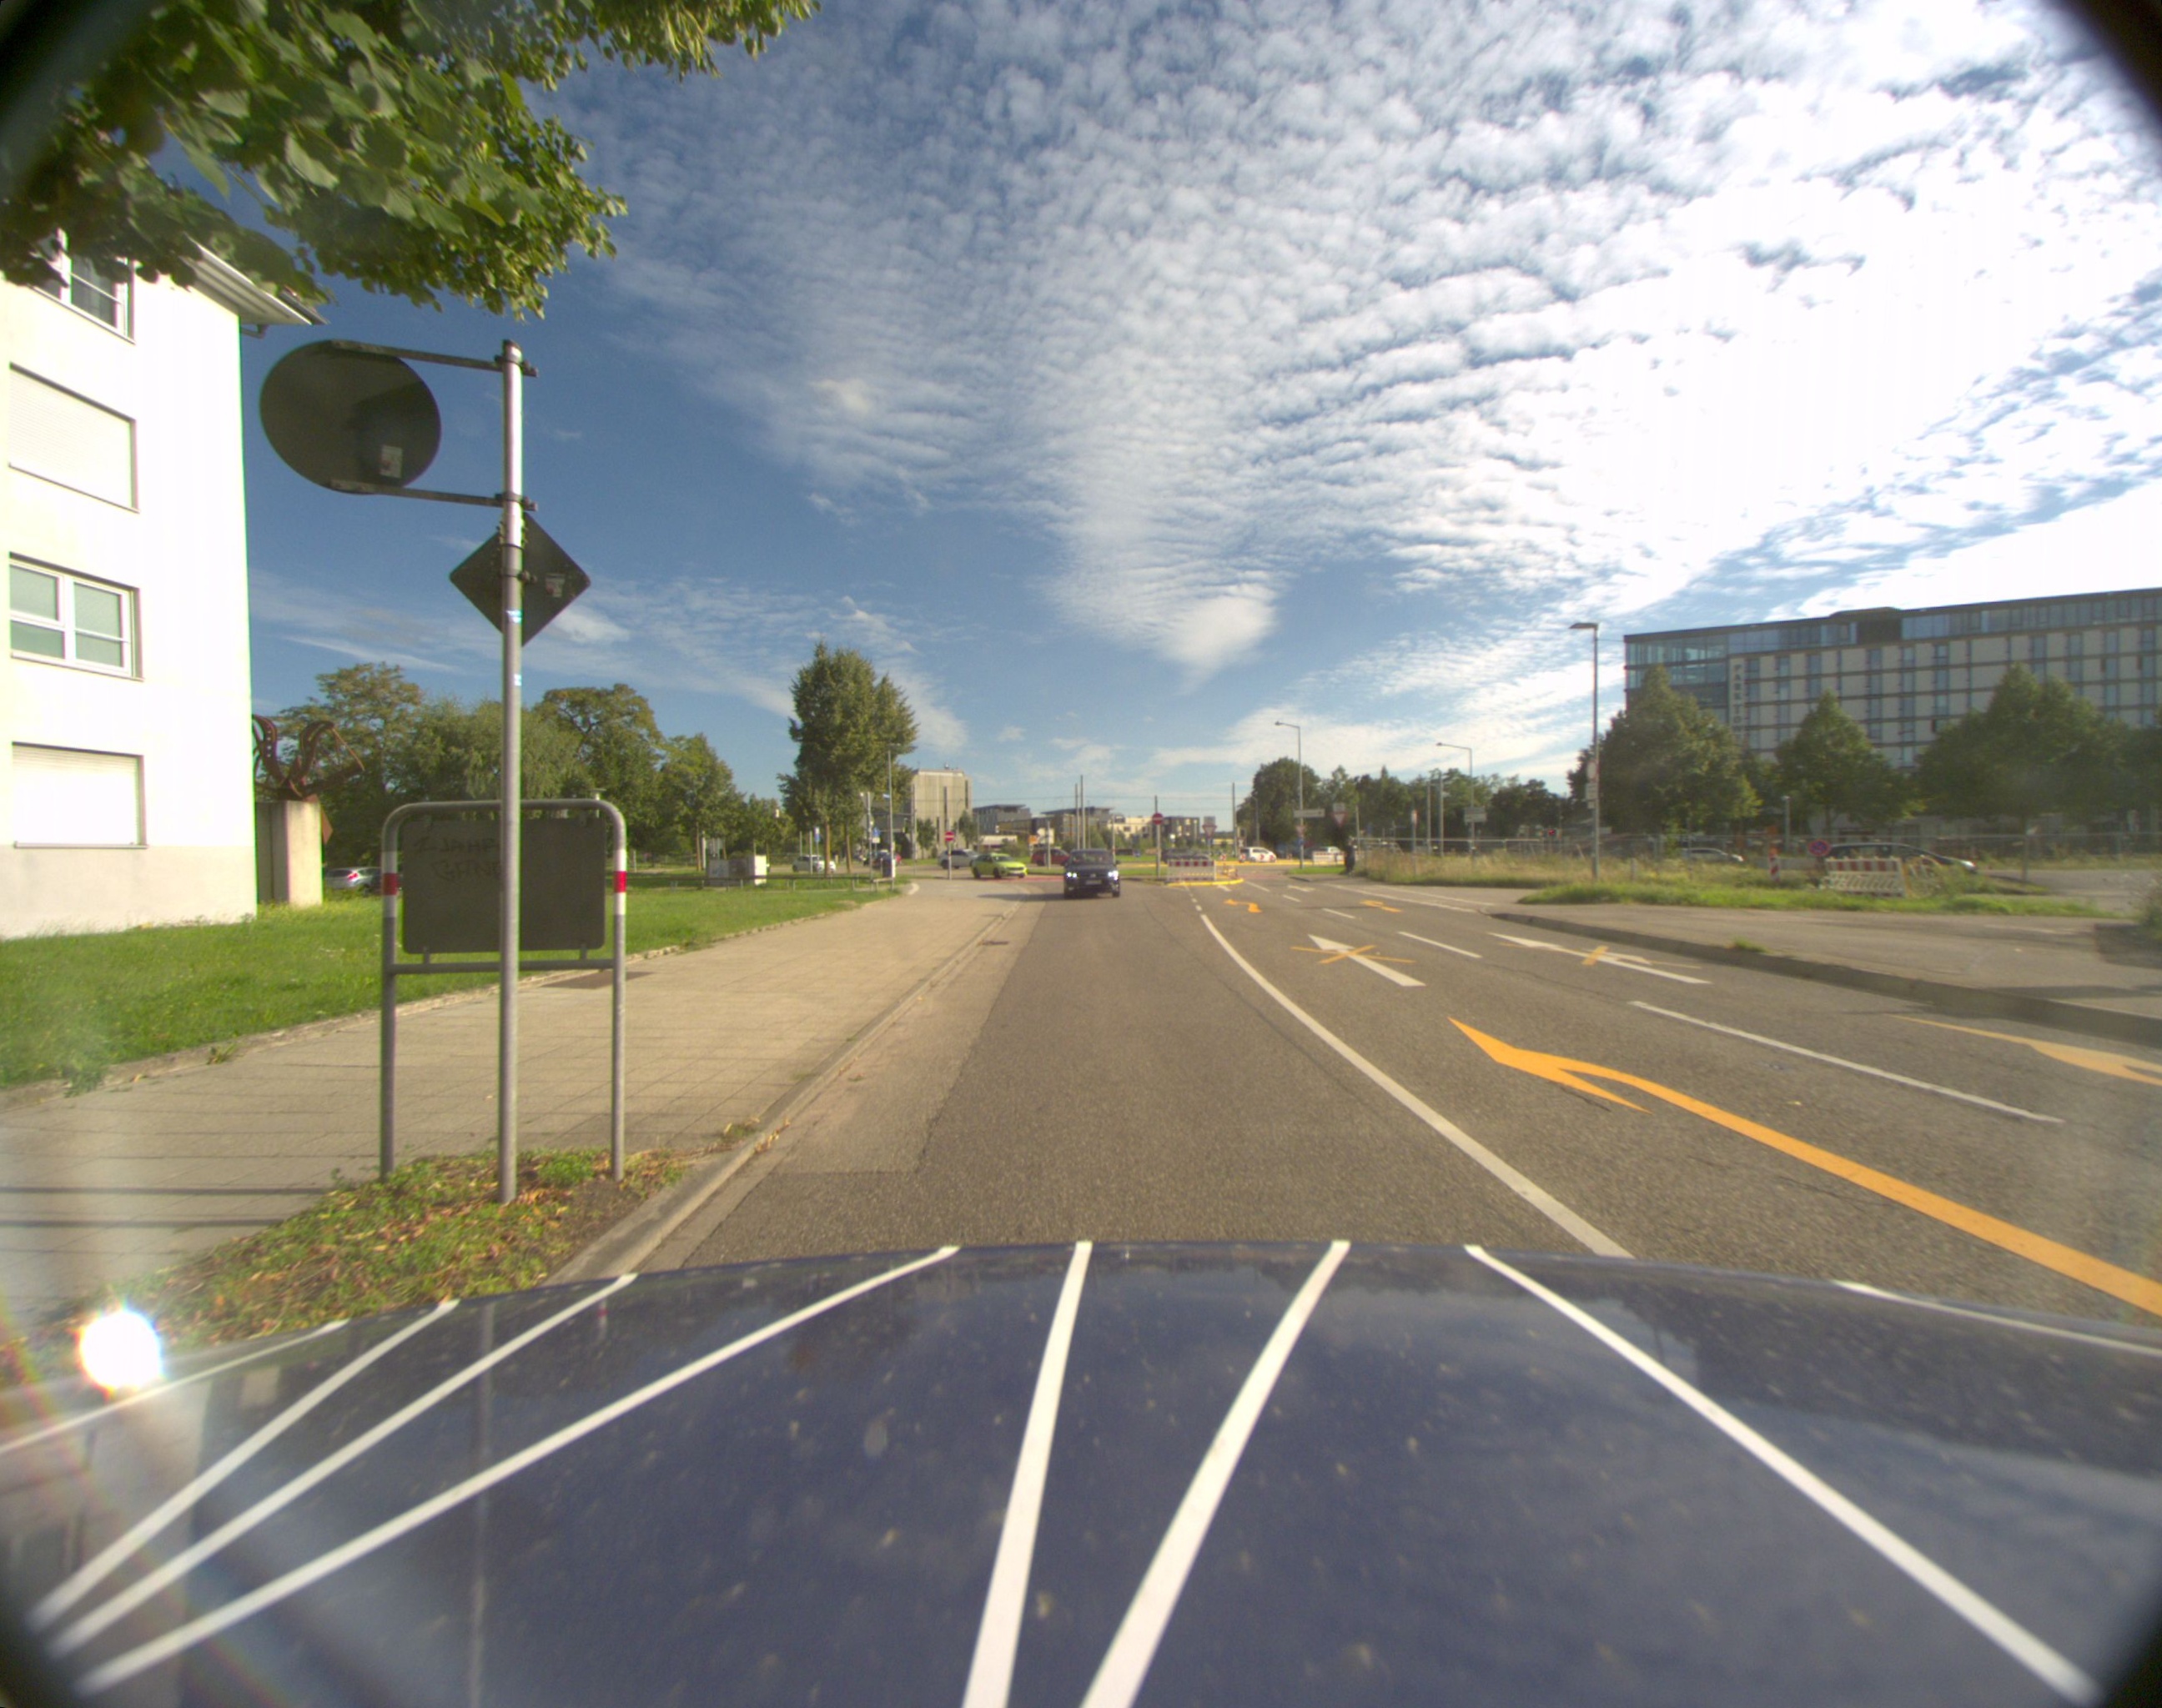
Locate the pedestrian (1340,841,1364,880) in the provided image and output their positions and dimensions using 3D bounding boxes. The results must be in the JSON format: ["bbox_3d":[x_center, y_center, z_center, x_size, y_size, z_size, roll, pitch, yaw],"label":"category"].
[{"bbox_3d":[12.744,0.293,35.787,0.710,1.813,0.744,-2,1,-21],"label":"pedestrian"}]

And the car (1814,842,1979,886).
[{"bbox_3d":[33.211,0.375,31.050,2.003,1.648,4.401,-2,1,-37],"label":"car"}]

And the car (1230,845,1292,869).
[{"bbox_3d":[16.747,0.248,70.492,5.512,2.047,2.471,-2,1,-33],"label":"car"}]

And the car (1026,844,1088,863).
[{"bbox_3d":[-2.016,-0.053,65.567,4.861,1.515,2.308,-1,1,12],"label":"car"}]

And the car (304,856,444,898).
[{"bbox_3d":[-35.156,1.079,37.995,2.271,1.789,4.792,-1,1,4],"label":"car"}]

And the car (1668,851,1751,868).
[{"bbox_3d":[50.791,0.431,61.510,4.802,1.344,2.002,0,1,18],"label":"car"}]

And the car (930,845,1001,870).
[{"bbox_3d":[-9.481,0.300,61.965,2.482,1.856,6.234,-3,1,-44],"label":"car"}]

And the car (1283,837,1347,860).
[{"bbox_3d":[22.851,-0.571,74.124,5.812,2.047,2.472,-2,1,-25],"label":"car"}]

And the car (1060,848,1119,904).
[{"bbox_3d":[0.293,0.672,25.898,1.821,1.648,4.242,-2,1,1],"label":"car"}]

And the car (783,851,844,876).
[{"bbox_3d":[-21.213,0.786,60.116,5.389,1.856,1.843,-1,1,38],"label":"car"}]

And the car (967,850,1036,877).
[{"bbox_3d":[-4.890,0.550,45.759,2.045,1.461,5.975,-2,1,-28],"label":"car"}]

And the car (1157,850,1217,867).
[{"bbox_3d":[9.275,0.366,66.452,4.814,1.344,1.997,-1,1,-13],"label":"car"}]

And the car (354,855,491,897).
[{"bbox_3d":[-32.345,1.021,37.569,2.271,1.789,4.911,-1,1,2],"label":"car"}]
